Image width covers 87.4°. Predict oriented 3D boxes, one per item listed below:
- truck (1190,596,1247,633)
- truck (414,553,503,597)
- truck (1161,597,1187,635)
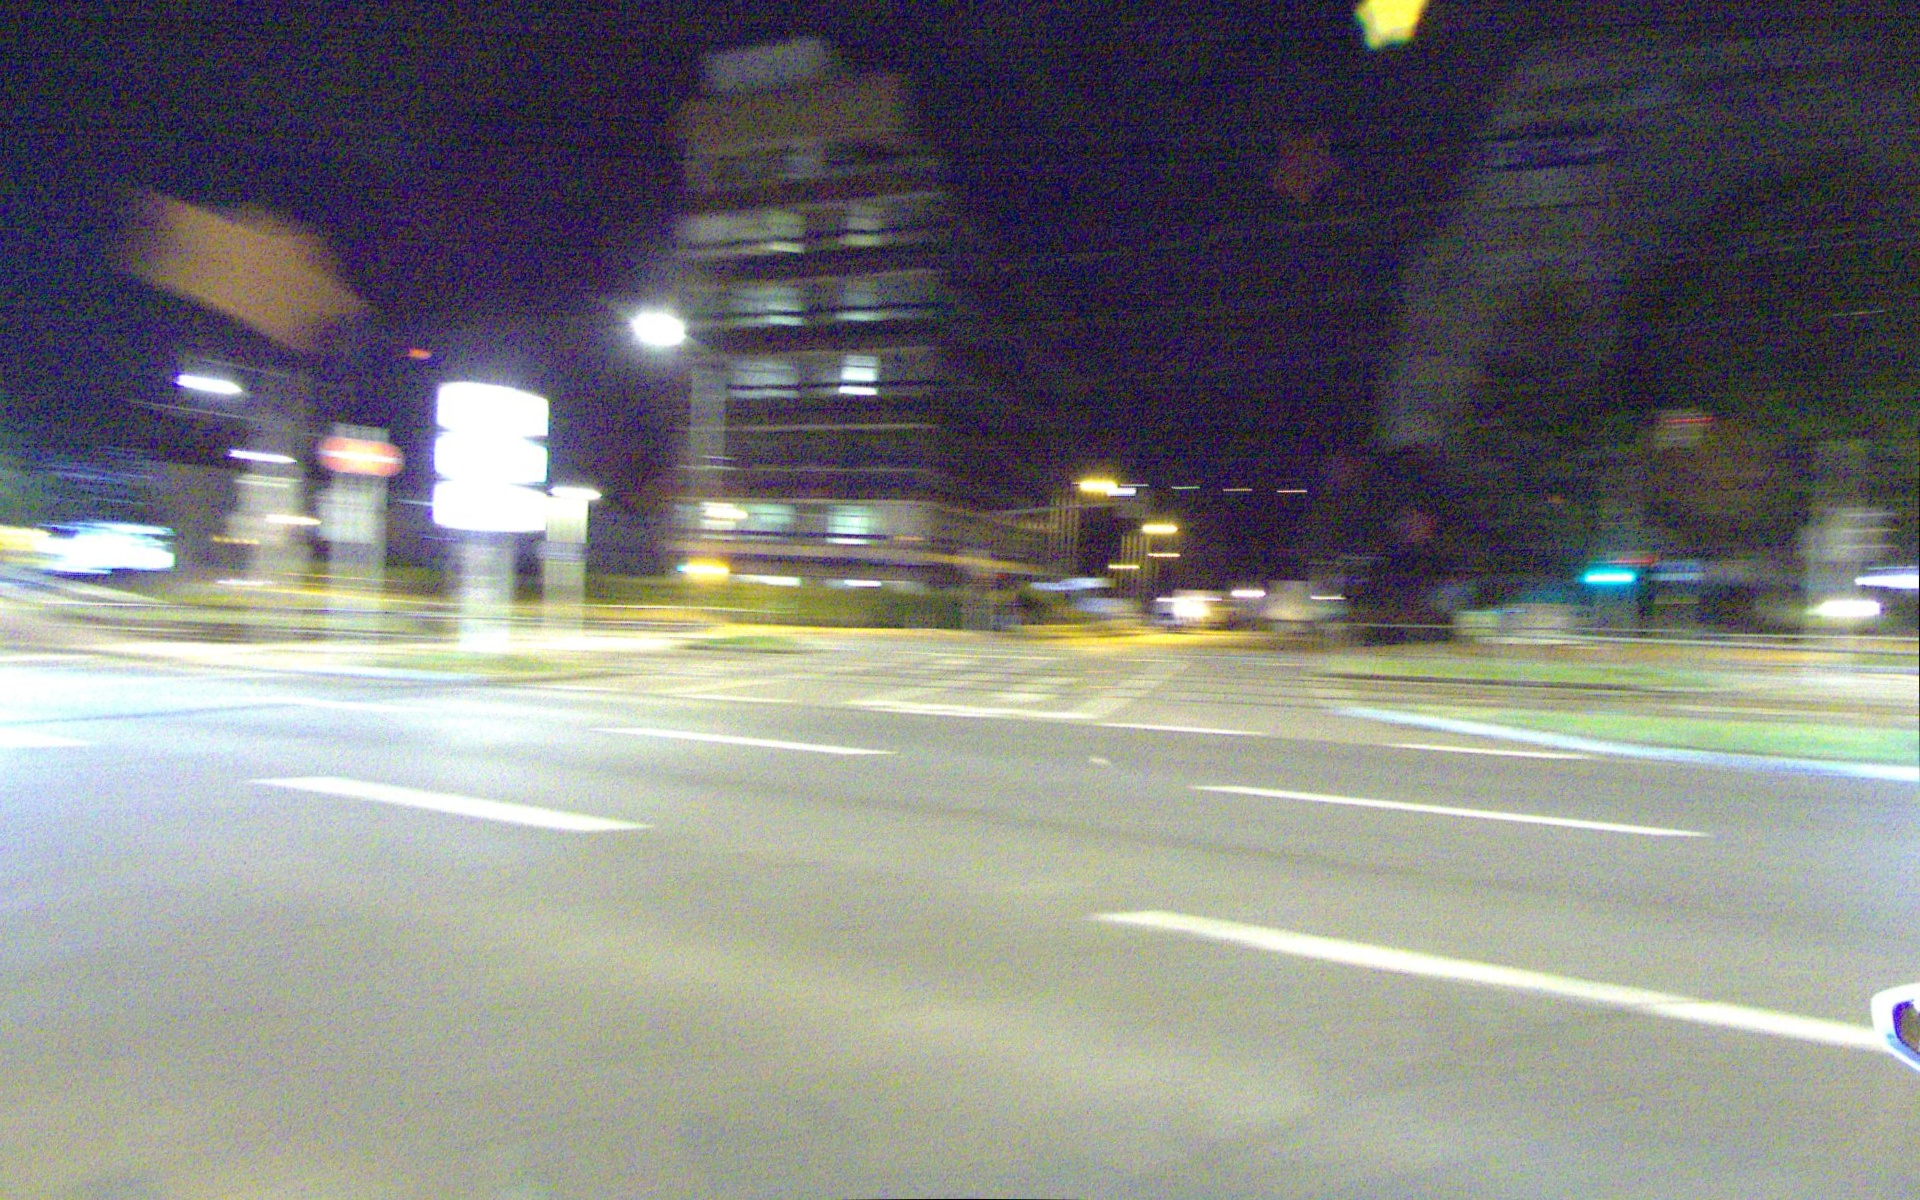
[{"bbox_3d":[34.642,1.906,135.324,4.742,4.607,12.668,2,0,2],"label":"truck"},{"bbox_3d":[-38.381,-1.894,76.915,5.802,3.129,2.912,2,0,23],"label":"truck"},{"bbox_3d":[22.543,1.675,105.759,2.538,3.756,5.741,2,0,12],"label":"truck"}]
